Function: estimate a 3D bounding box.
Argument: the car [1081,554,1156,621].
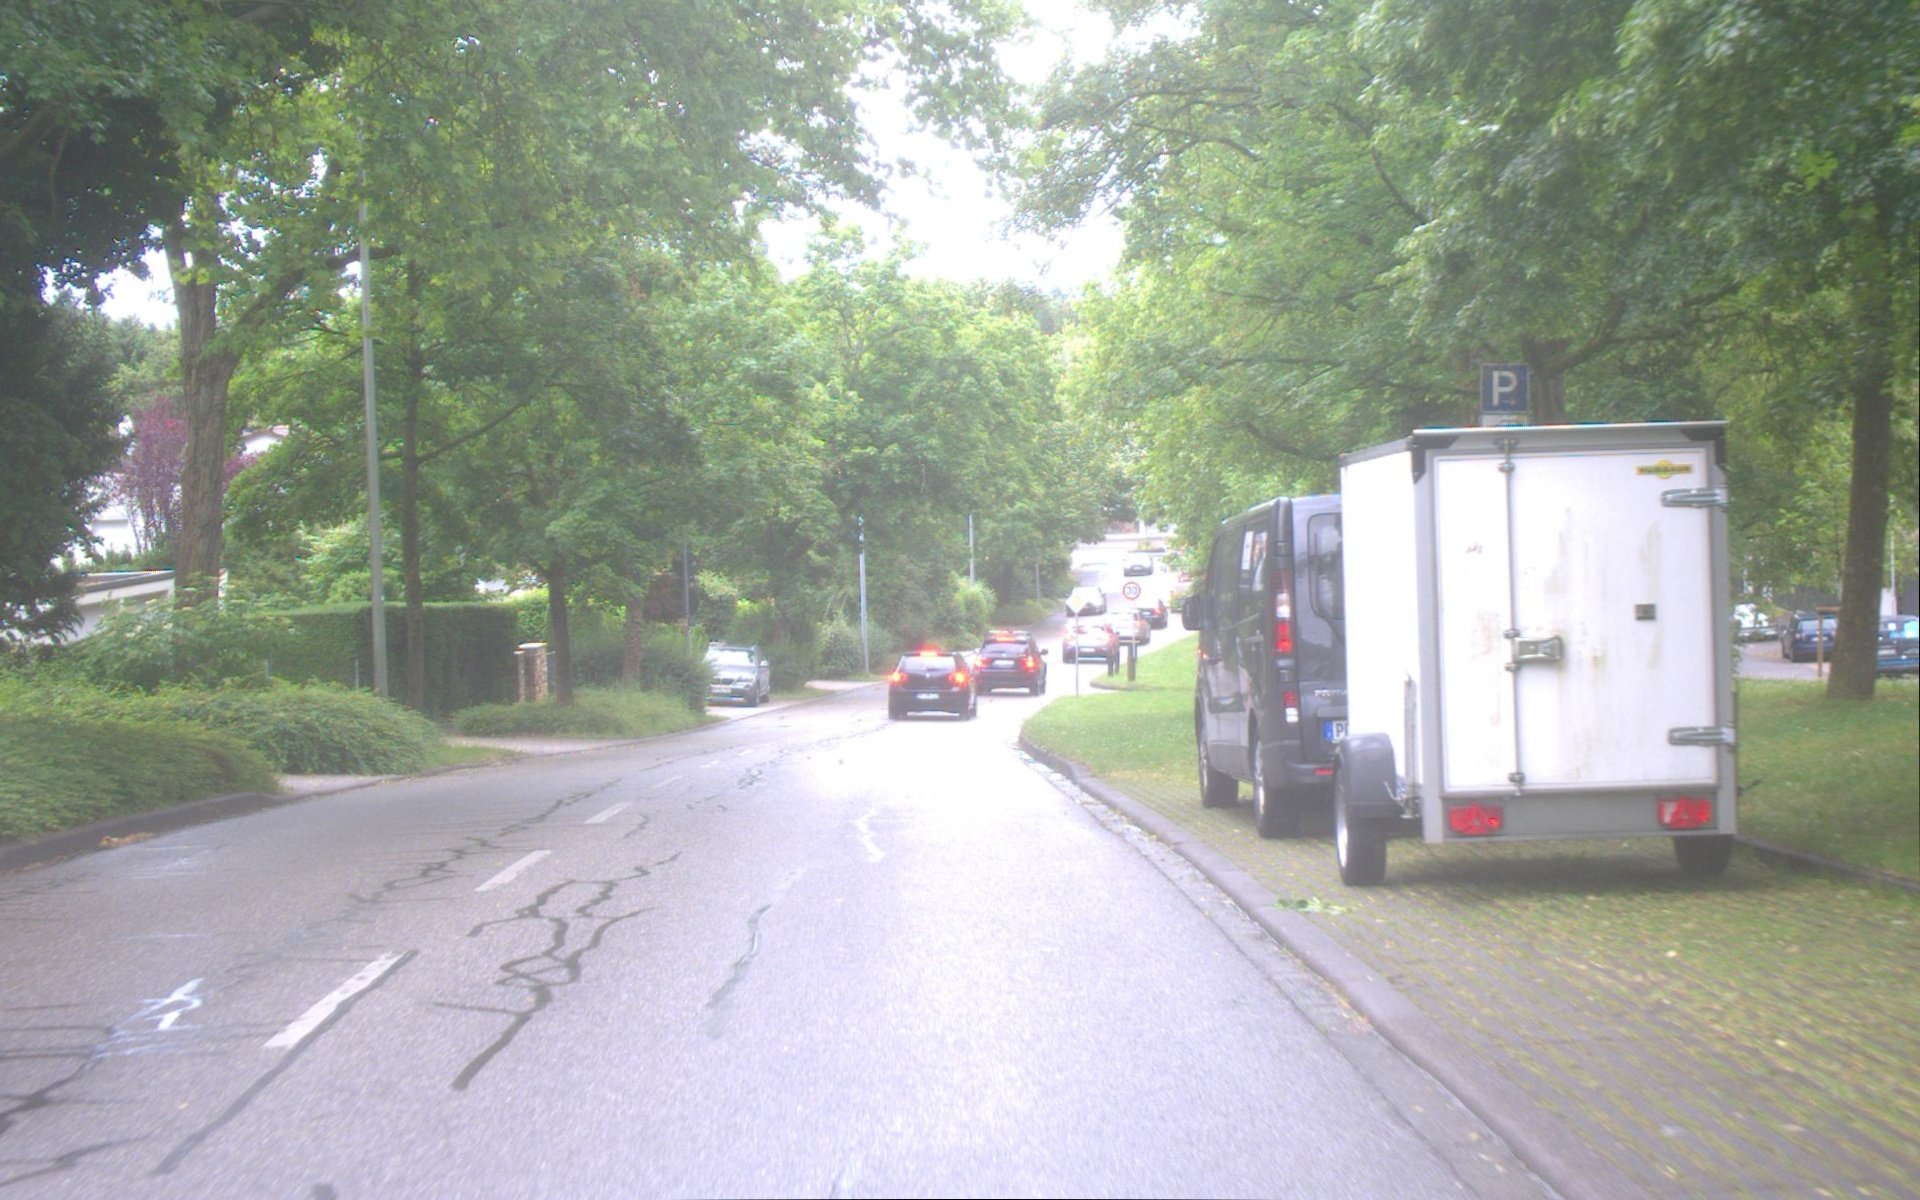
[{"bbox_3d":[4.948,-0.381,107.969,1.993,2.007,4.000,-1,-1,-2],"label":"car"}]

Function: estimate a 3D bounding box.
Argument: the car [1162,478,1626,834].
[{"bbox_3d":[2.529,0.317,21.490,1.993,1.903,5.509,-1,0,-2],"label":"car"}]

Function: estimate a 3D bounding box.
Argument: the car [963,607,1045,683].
[{"bbox_3d":[1.186,1.227,94.157,1.993,2.007,4.000,-1,-1,-2],"label":"car"}]

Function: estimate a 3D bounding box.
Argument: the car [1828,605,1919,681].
[{"bbox_3d":[27.385,1.247,102.306,1.993,2.006,4.001,-2,2,0],"label":"car"}]

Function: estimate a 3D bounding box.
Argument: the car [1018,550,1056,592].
[{"bbox_3d":[4.209,-1.597,187.627,1.993,2.006,4.001,-1,5,1],"label":"car"}]

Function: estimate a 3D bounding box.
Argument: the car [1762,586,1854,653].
[{"bbox_3d":[28.254,0.624,114.714,1.993,2.006,4.001,-2,2,0],"label":"car"}]

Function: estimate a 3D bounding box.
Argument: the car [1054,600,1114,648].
[{"bbox_3d":[4.513,0.886,125.429,1.856,1.686,4.000,-1,-1,-2],"label":"car"}]

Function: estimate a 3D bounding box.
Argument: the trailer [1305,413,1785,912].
[{"bbox_3d":[2.693,0.258,16.648,1.530,2.068,4.000,-2,0,-1],"label":"trailer"}]

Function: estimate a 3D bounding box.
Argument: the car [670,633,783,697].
[{"bbox_3d":[-6.067,1.689,89.782,1.994,1.593,4.008,-1,-1,10],"label":"car"}]
